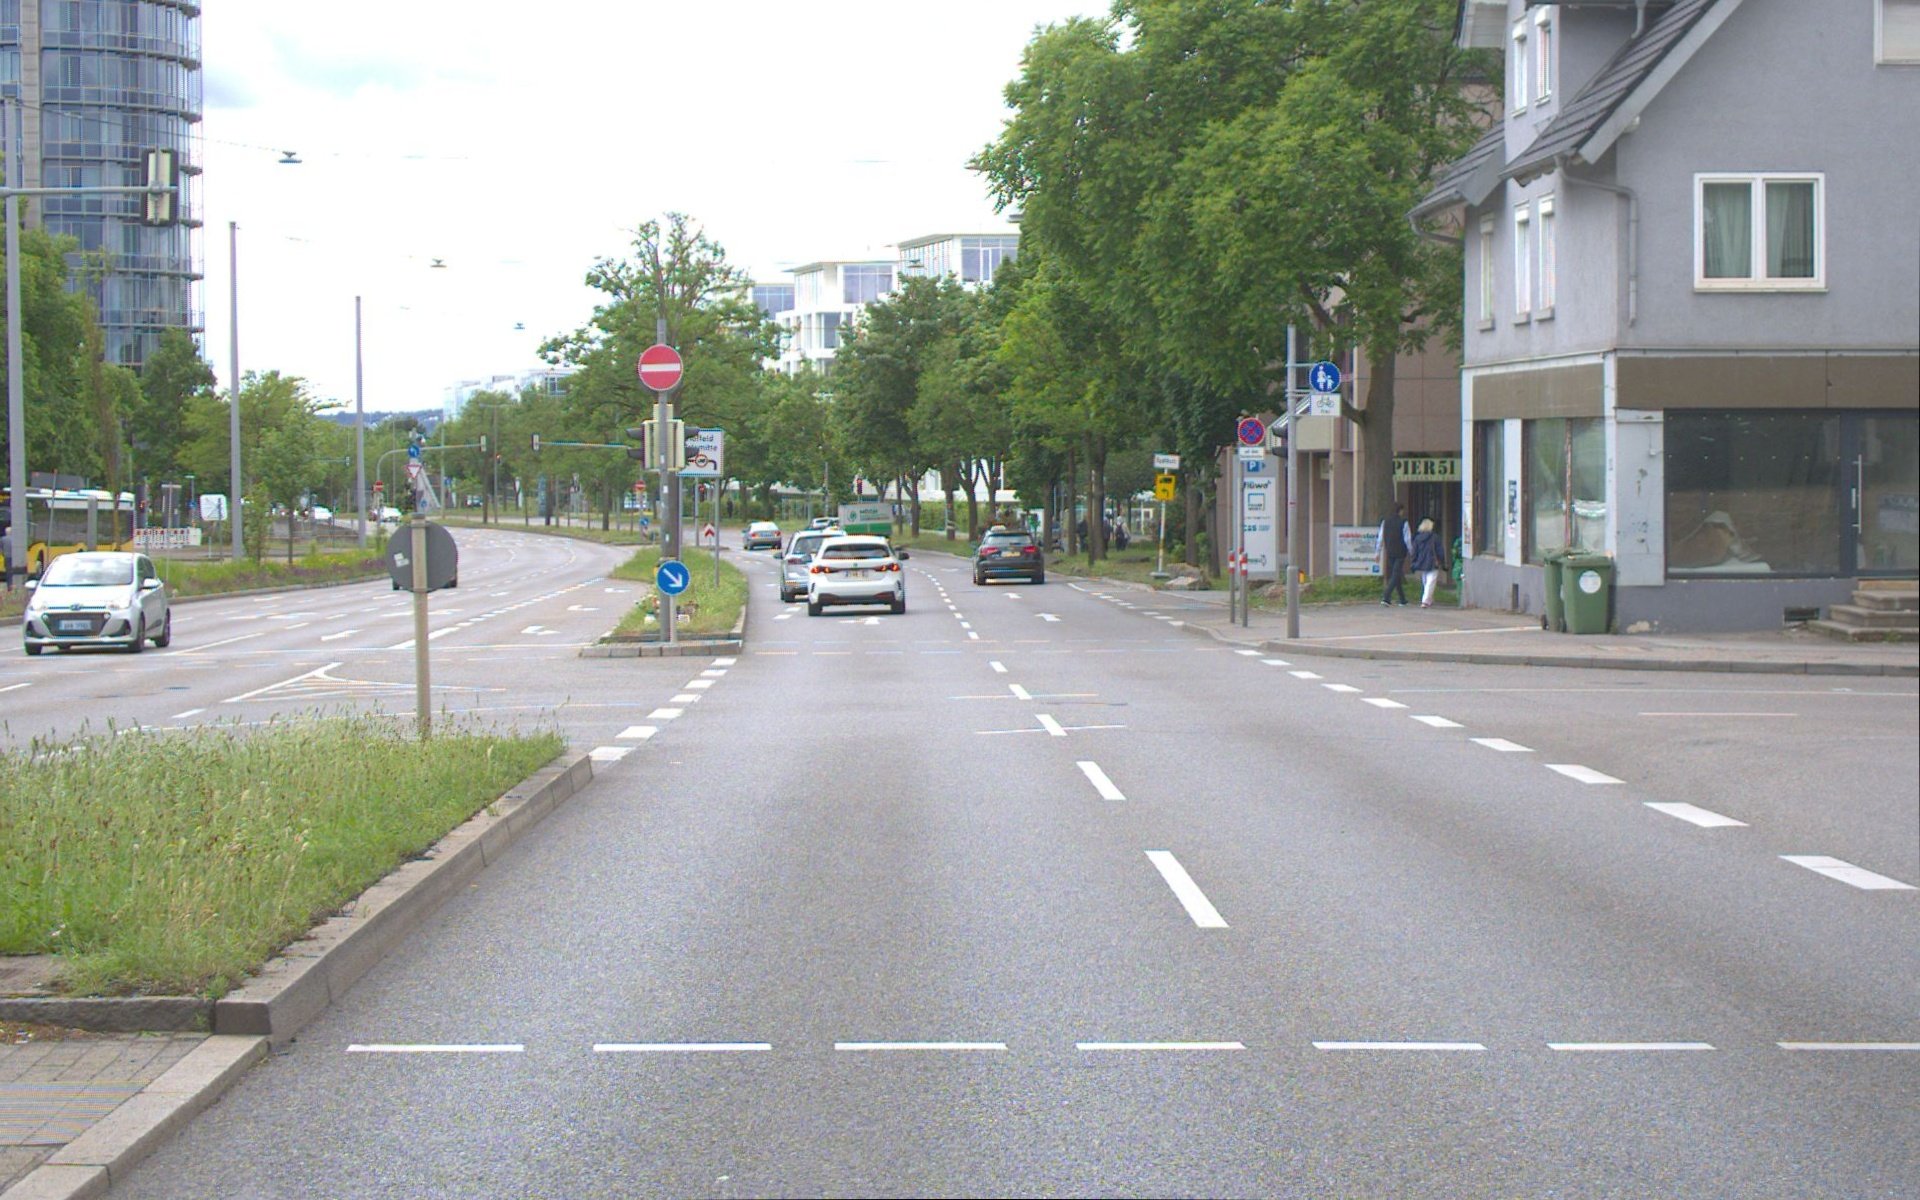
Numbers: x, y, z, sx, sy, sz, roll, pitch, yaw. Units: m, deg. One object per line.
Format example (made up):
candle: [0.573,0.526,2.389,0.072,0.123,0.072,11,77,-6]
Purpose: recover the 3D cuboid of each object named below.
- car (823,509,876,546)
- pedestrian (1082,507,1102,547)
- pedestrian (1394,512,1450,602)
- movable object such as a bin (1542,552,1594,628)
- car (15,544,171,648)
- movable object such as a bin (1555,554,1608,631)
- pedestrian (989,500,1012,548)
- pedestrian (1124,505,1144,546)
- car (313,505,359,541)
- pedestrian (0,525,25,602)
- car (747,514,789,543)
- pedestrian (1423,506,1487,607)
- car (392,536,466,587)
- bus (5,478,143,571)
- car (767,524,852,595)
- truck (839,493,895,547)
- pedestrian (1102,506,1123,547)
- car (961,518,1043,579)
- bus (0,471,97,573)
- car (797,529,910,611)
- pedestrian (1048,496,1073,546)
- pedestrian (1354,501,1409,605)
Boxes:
car: [-5.305,-3.471,165.073,2.251,1.751,4.934,-1,1,-5]
pedestrian: [5.092,-2.817,132.727,0.650,1.564,0.671,-1,1,-8]
pedestrian: [7.837,-0.731,58.283,0.706,1.502,0.869,0,1,25]
movable object such as a bin: [7.931,-0.131,44.845,0.529,0.976,0.736,-1,1,-1]
car: [-12.804,-0.088,50.932,1.684,1.457,3.556,-1,1,-5]
movable object such as a bin: [7.959,-0.101,44.055,0.529,0.976,0.736,-1,1,-1]
pedestrian: [2.008,-3.734,168.975,0.930,2.300,1.011,1,0,-10]
pedestrian: [6.703,-2.863,132.539,0.650,1.564,0.671,-1,1,-8]
car: [-36.327,-4.455,200.270,1.965,2.007,4.000,1,1,-1]
pedestrian: [-23.366,-0.896,84.434,0.661,1.891,0.686,-1,1,-21]
car: [-9.686,-3.589,173.159,1.967,1.415,4.023,-1,1,-5]
pedestrian: [8.767,-0.772,60.893,0.867,1.773,0.708,-1,1,-22]
car: [-15.797,-1.159,102.375,1.702,1.487,3.562,-1,1,-2]
bus: [-31.732,-2.704,123.477,3.144,3.214,7.766,-1,1,-2]
car: [-3.347,-0.916,76.996,1.822,1.535,4.115,-1,1,-2]
truck: [-4.260,-3.639,156.475,2.251,2.408,4.934,0,1,-5]
pedestrian: [5.882,-2.830,132.679,0.650,1.564,0.671,-1,1,-8]
car: [1.067,-1.324,89.465,1.889,1.489,4.099,-2,0,-2]
bus: [-31.393,-2.563,114.473,3.144,3.214,10.286,-1,1,-3]
car: [-1.966,-0.589,64.731,1.993,1.472,4.256,-1,1,0]
pedestrian: [4.122,-3.239,141.352,0.971,2.007,0.981,1,0,-1]
pedestrian: [7.242,-0.810,59.092,0.706,1.773,0.869,0,1,24]
